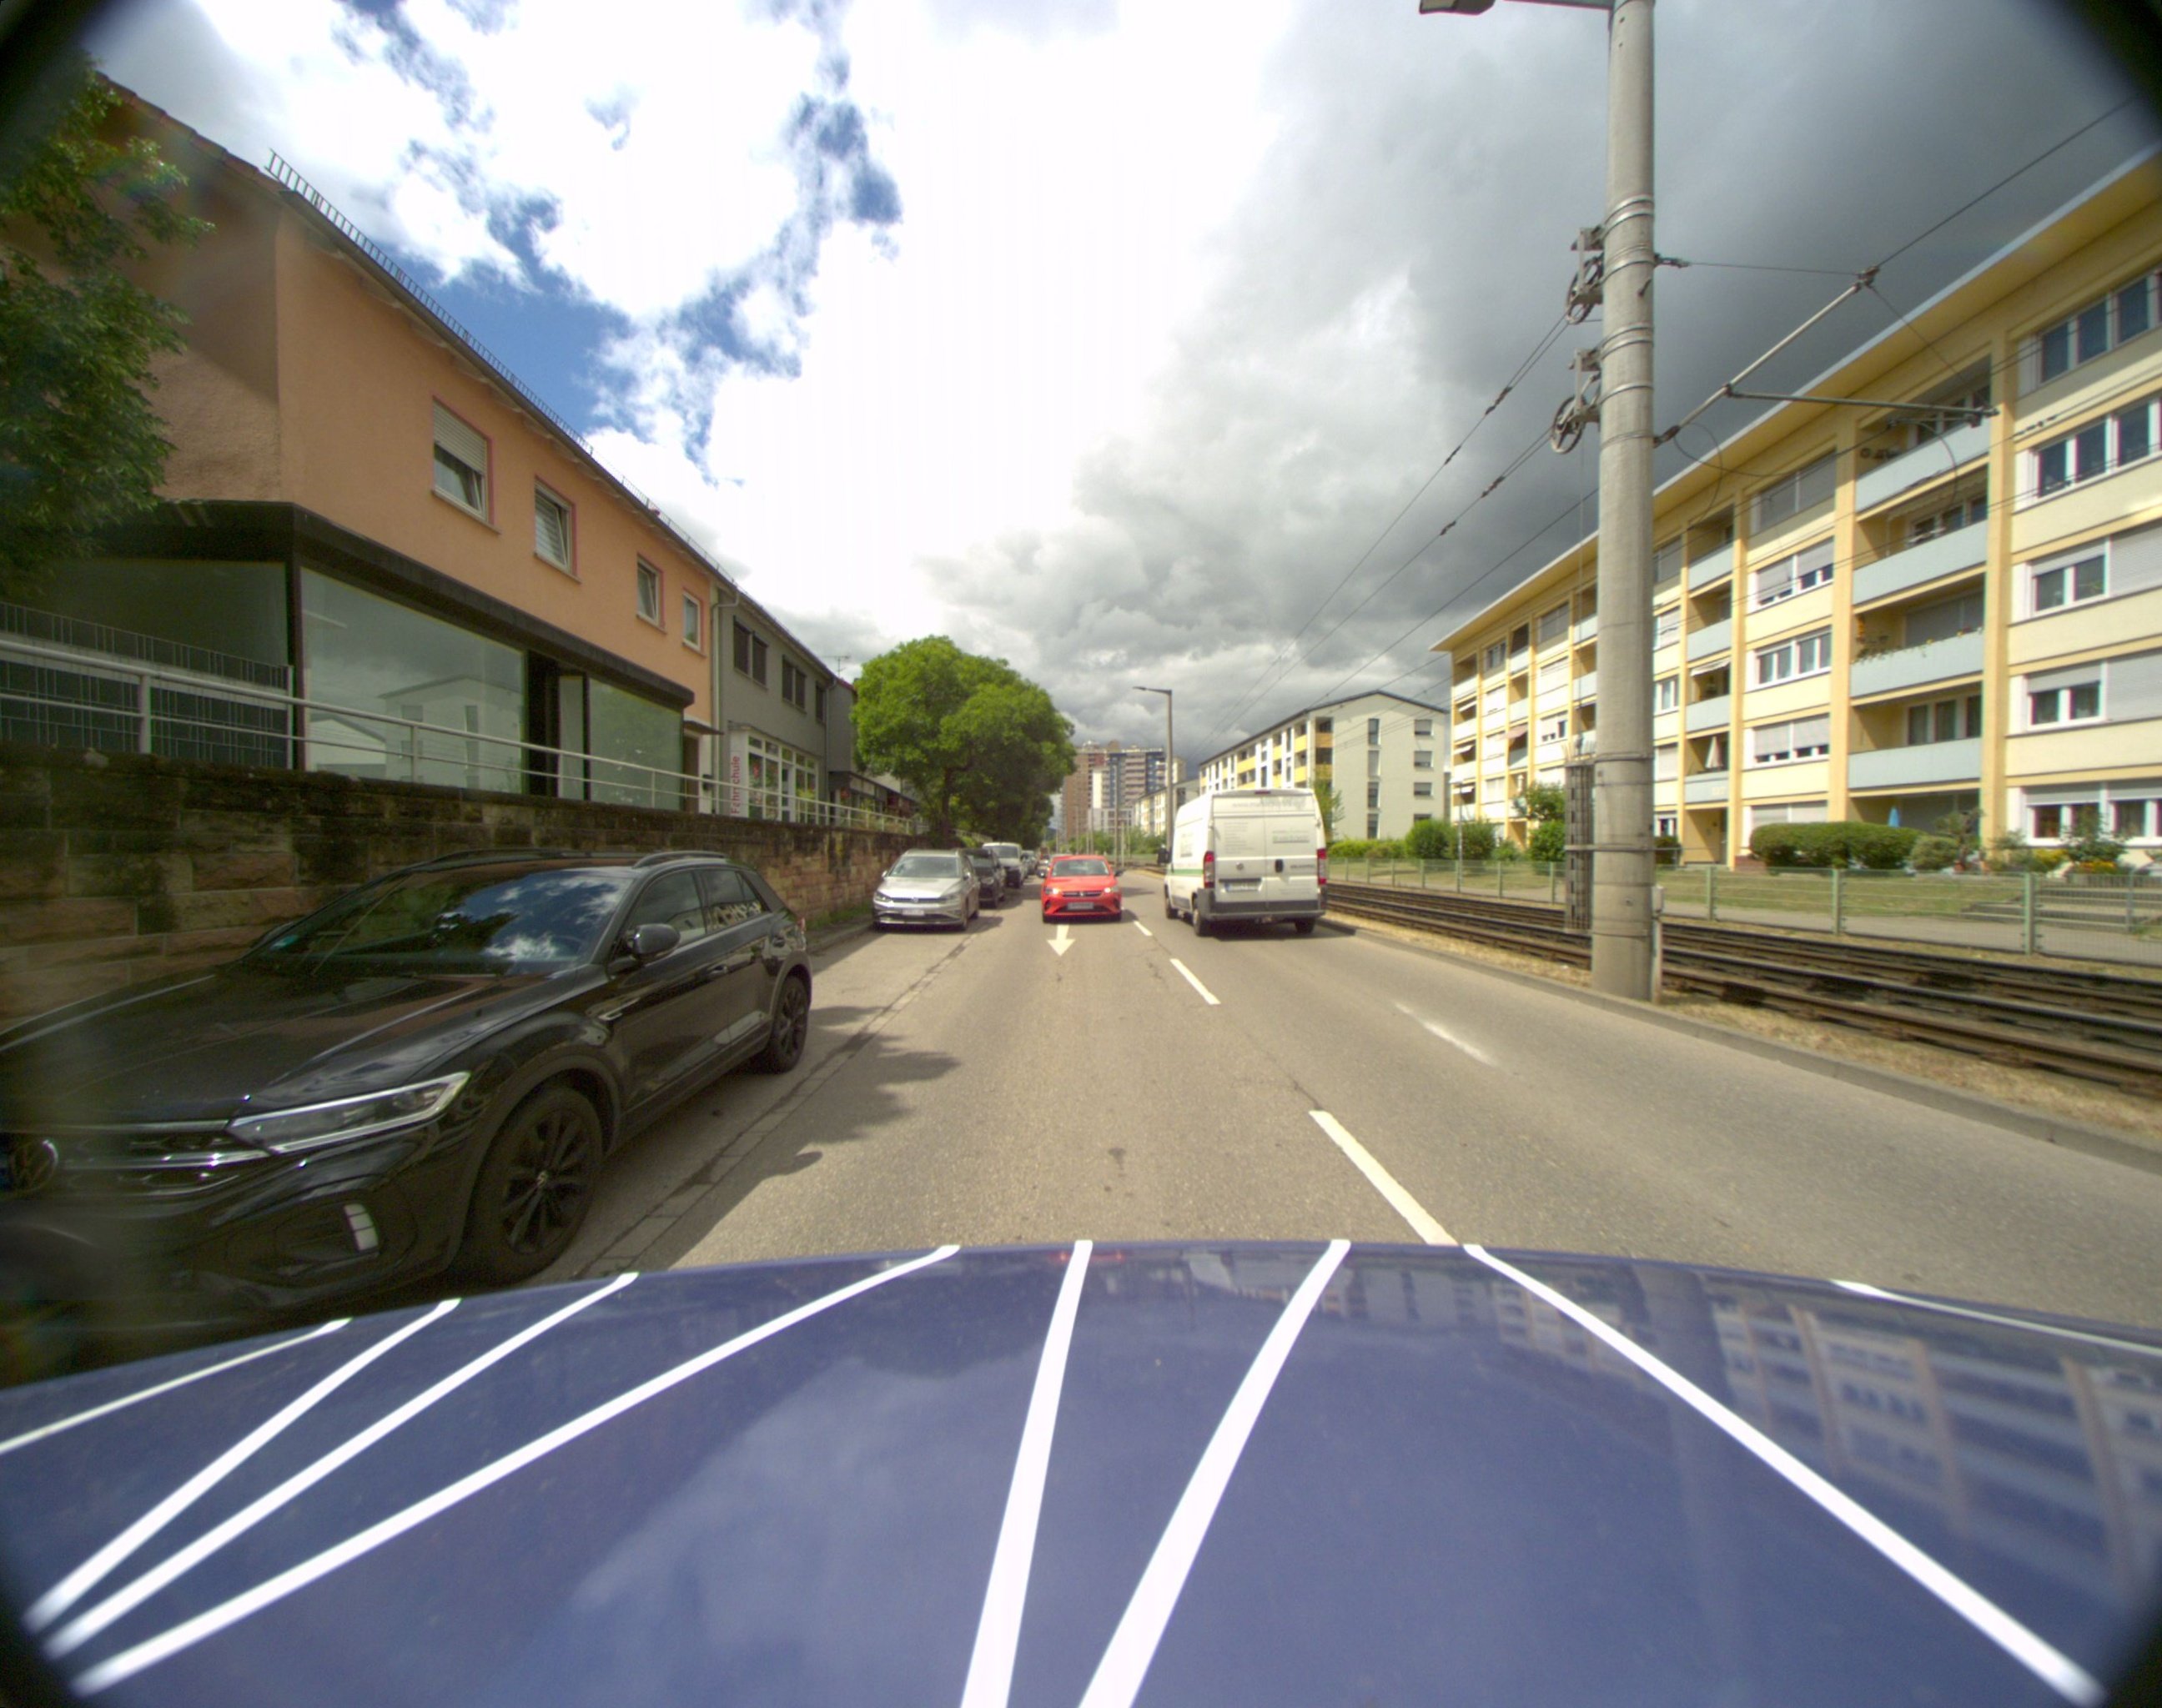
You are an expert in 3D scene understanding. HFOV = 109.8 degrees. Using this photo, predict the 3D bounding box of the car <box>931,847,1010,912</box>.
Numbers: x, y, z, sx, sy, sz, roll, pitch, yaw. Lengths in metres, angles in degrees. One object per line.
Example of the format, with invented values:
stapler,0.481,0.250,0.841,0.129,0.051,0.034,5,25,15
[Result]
car,-3.094,0.660,22.016,1.760,1.706,3.999,0,1,-1

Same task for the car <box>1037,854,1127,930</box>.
car,-0.023,0.782,17.524,1.783,1.434,4.130,-2,1,-1

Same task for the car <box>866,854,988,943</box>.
car,-3.052,0.814,15.891,1.760,1.559,4.174,1,0,-1

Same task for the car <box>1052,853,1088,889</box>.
car,-0.502,0.706,33.696,1.499,1.477,3.519,0,1,-1

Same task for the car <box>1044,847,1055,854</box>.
car,-7.908,-0.876,190.544,2.441,1.717,5.482,0,1,-1

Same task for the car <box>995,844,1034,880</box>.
car,-3.727,0.382,43.180,1.854,1.926,4.968,0,1,-1

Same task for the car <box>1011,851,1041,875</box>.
car,-3.742,0.575,52.340,1.854,1.508,4.810,0,1,-1

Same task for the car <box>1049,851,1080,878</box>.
car,-0.898,0.559,43.351,1.639,1.346,3.999,-2,1,0

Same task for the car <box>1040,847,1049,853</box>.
car,-10.562,-1.251,219.140,2.441,1.717,5.482,0,1,-1

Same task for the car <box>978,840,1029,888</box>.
car,-3.388,0.389,33.937,1.854,1.997,4.968,0,1,-1

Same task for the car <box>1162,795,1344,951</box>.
car,2.993,0.270,14.564,2.237,2.460,5.085,0,1,-1

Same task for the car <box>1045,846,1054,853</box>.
car,-8.495,-1.190,204.070,2.441,1.717,5.482,0,1,-1

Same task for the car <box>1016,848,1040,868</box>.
car,-4.723,0.351,67.869,1.854,1.717,4.810,0,1,-1

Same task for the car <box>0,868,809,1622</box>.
car,-2.893,0.916,3.689,1.760,1.570,4.021,0,1,-1
